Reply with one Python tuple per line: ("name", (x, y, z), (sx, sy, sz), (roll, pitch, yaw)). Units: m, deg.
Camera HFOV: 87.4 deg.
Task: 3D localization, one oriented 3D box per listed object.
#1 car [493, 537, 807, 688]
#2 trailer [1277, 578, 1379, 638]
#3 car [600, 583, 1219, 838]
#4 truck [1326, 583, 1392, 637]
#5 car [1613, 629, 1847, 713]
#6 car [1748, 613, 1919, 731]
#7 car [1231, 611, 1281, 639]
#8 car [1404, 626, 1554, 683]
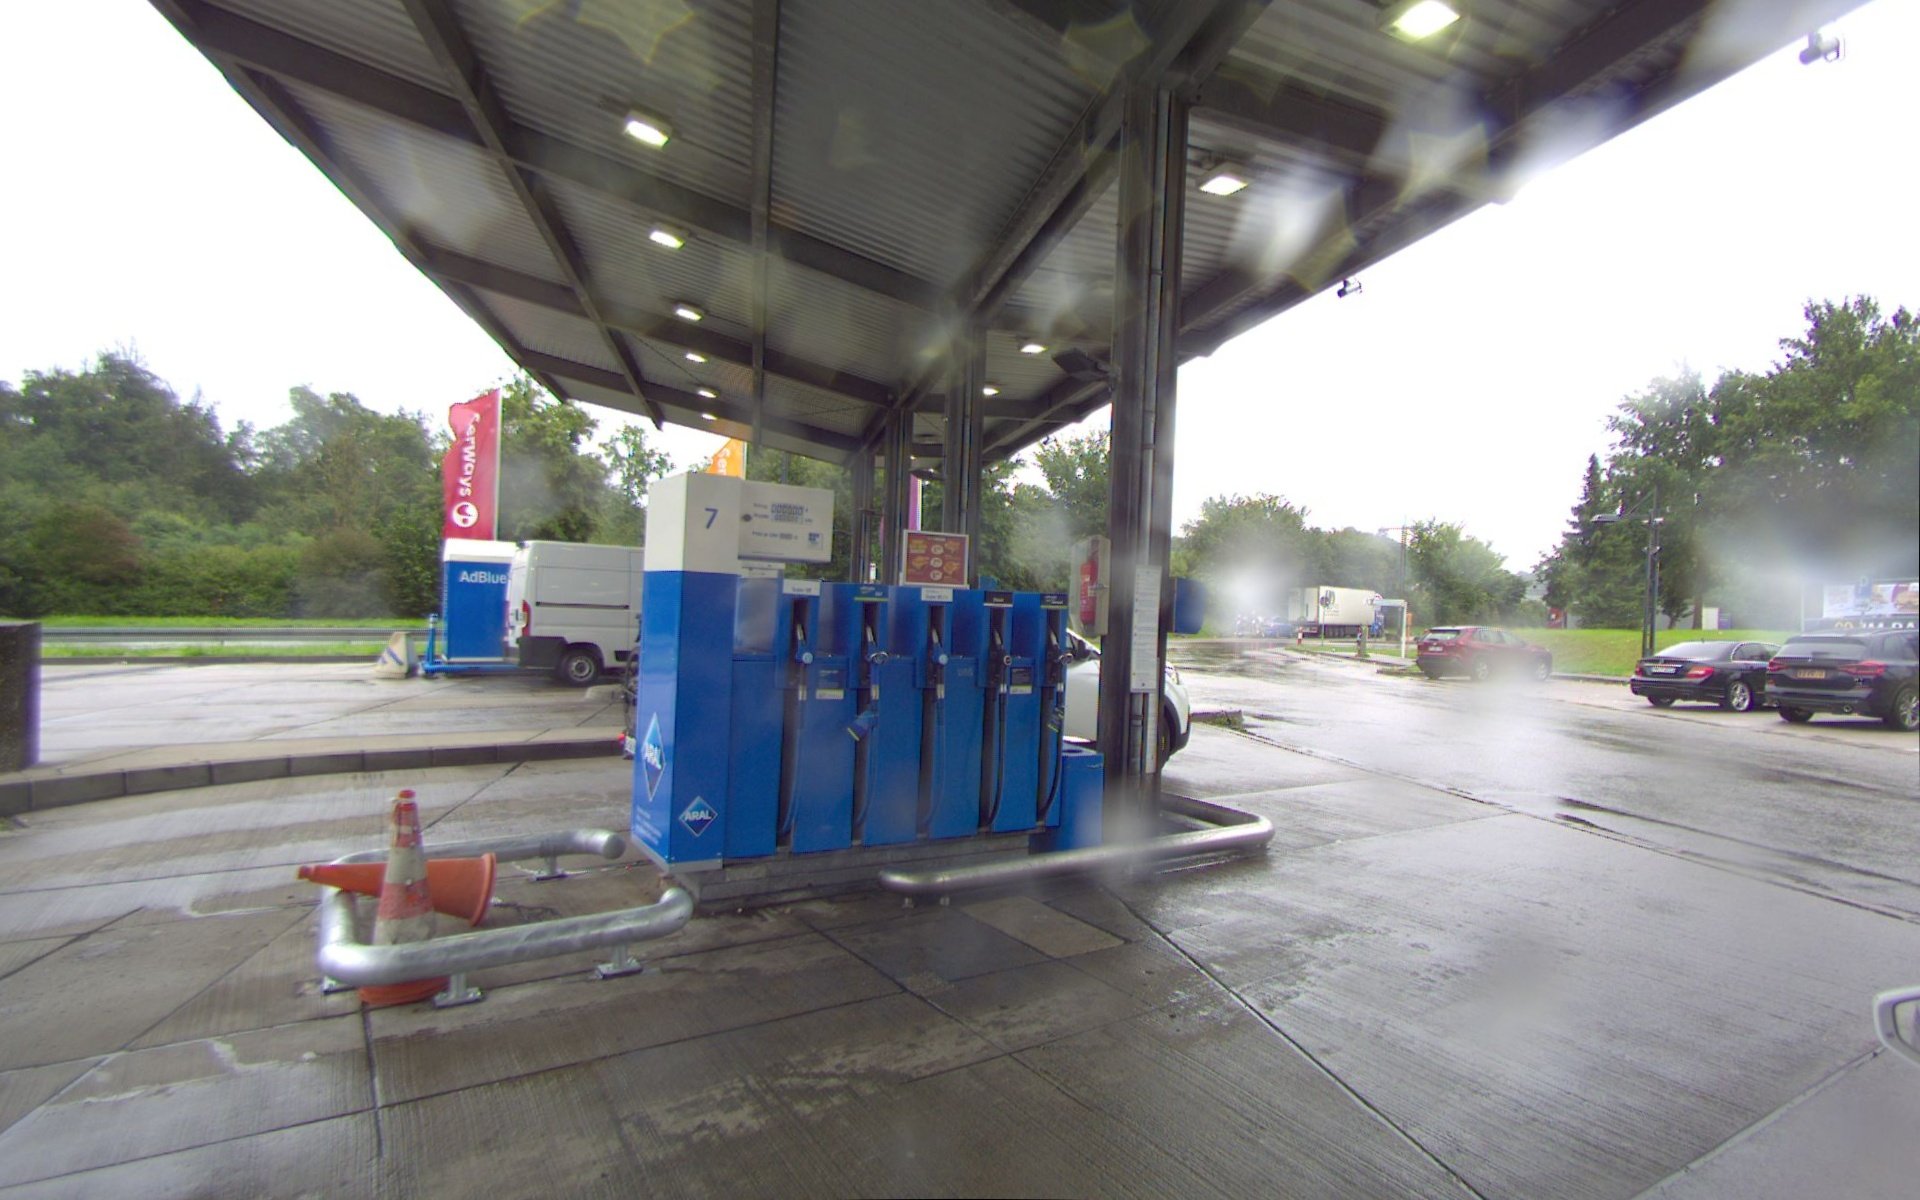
("car", (-5.773, 0.271, 18.990), (5.227, 2.496, 2.306), (1, -1, -34))
("trailer", (30.927, 0.756, 83.870), (3.416, 4.618, 13.847), (2, 0, 40))
("car", (-0.222, 0.728, 8.395), (4.953, 1.586, 1.803), (1, 0, -35))
("truck", (35.600, 0.926, 89.473), (3.416, 4.618, 6.704), (2, 0, 40))
("car", (15.951, 1.420, 20.838), (4.119, 1.585, 1.883), (1, -1, -19))
("car", (16.164, 1.192, 17.419), (4.344, 1.852, 1.883), (1, -1, -19))
("car", (20.860, 1.749, 70.769), (1.903, 1.862, 4.373), (1, 0, 38))
("car", (16.014, 1.649, 30.984), (4.294, 1.617, 1.879), (1, -1, -24))
